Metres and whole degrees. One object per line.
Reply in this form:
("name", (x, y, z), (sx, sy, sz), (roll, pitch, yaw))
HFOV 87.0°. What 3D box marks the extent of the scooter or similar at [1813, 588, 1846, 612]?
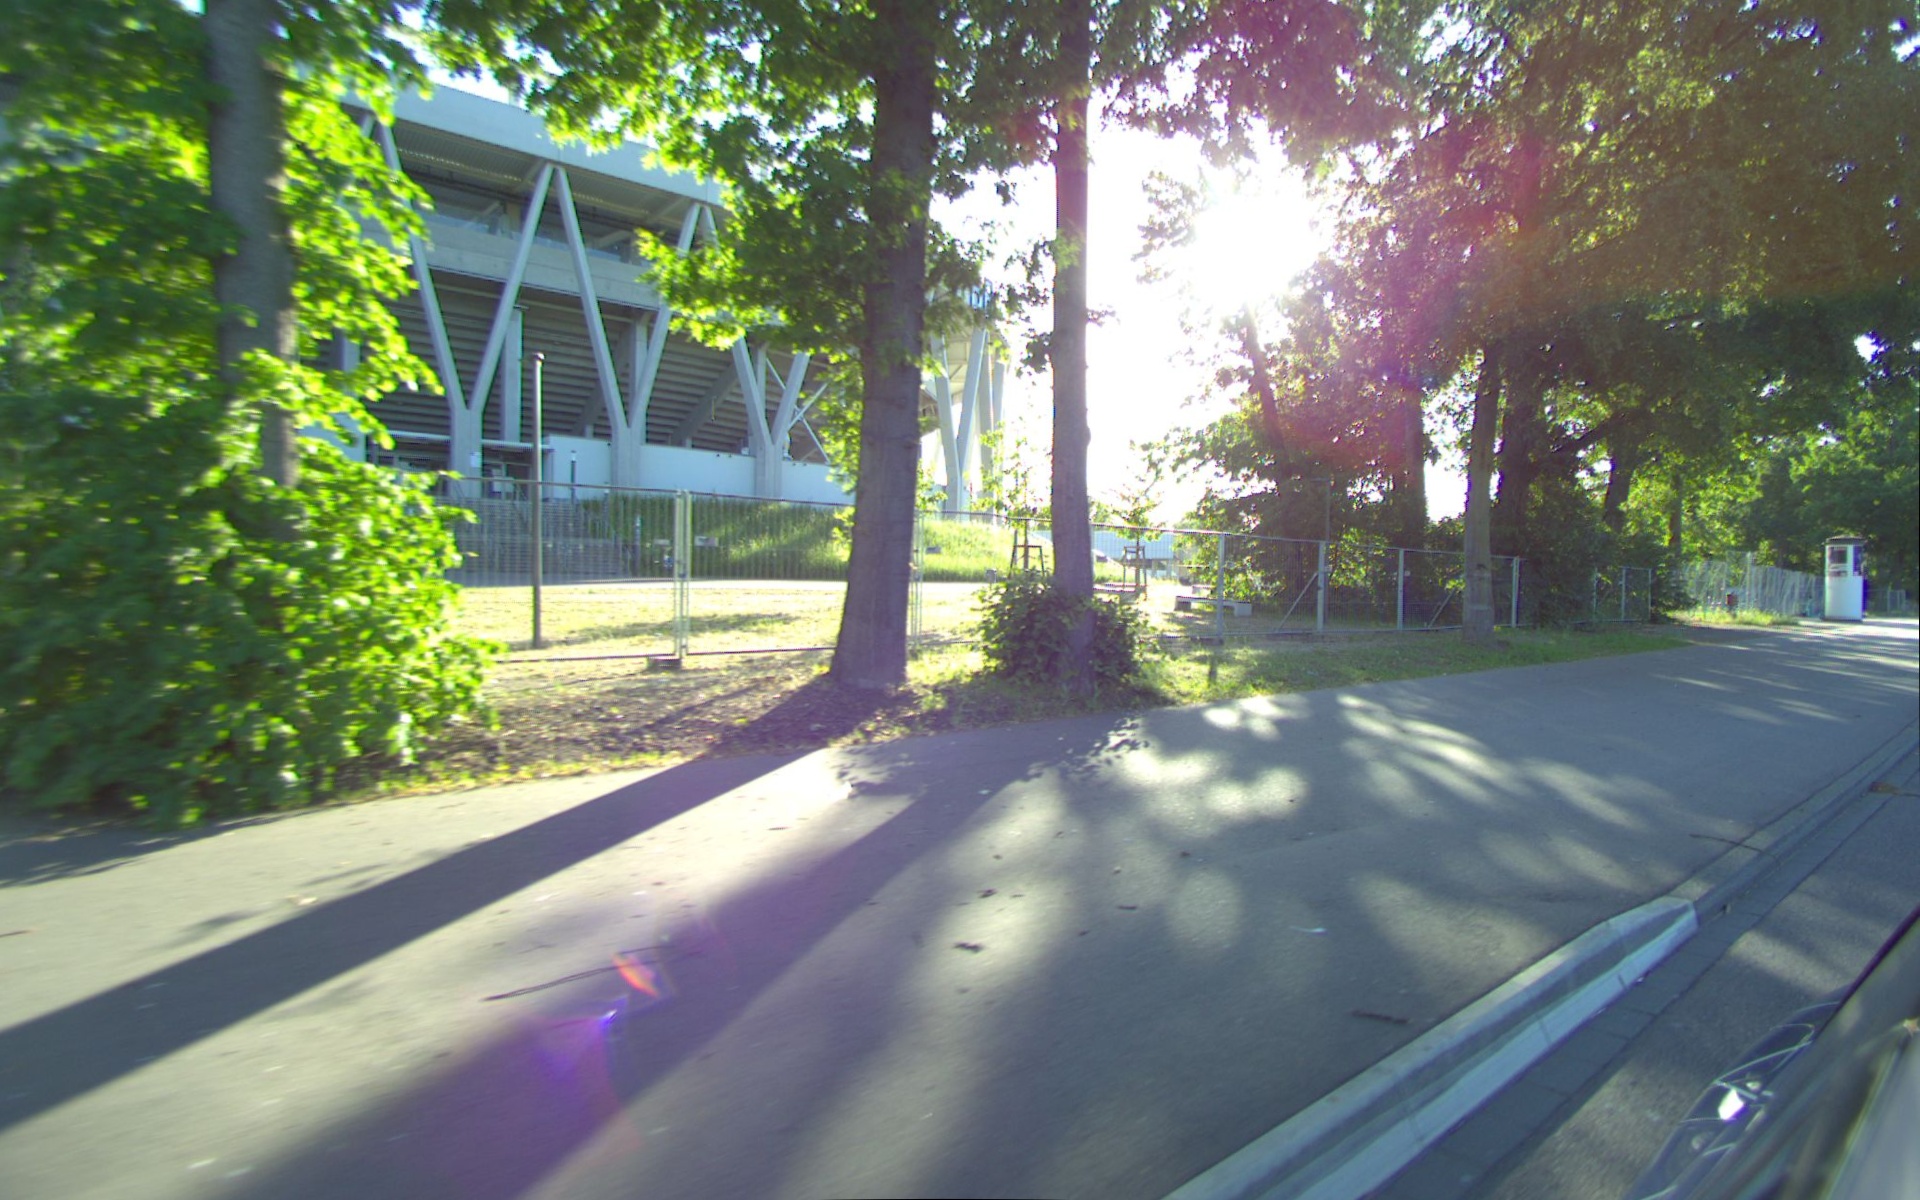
("scooter or similar", (46.605, 0.006, 54.255), (1.282, 1.253, 0.334), (2, 1, 14))
